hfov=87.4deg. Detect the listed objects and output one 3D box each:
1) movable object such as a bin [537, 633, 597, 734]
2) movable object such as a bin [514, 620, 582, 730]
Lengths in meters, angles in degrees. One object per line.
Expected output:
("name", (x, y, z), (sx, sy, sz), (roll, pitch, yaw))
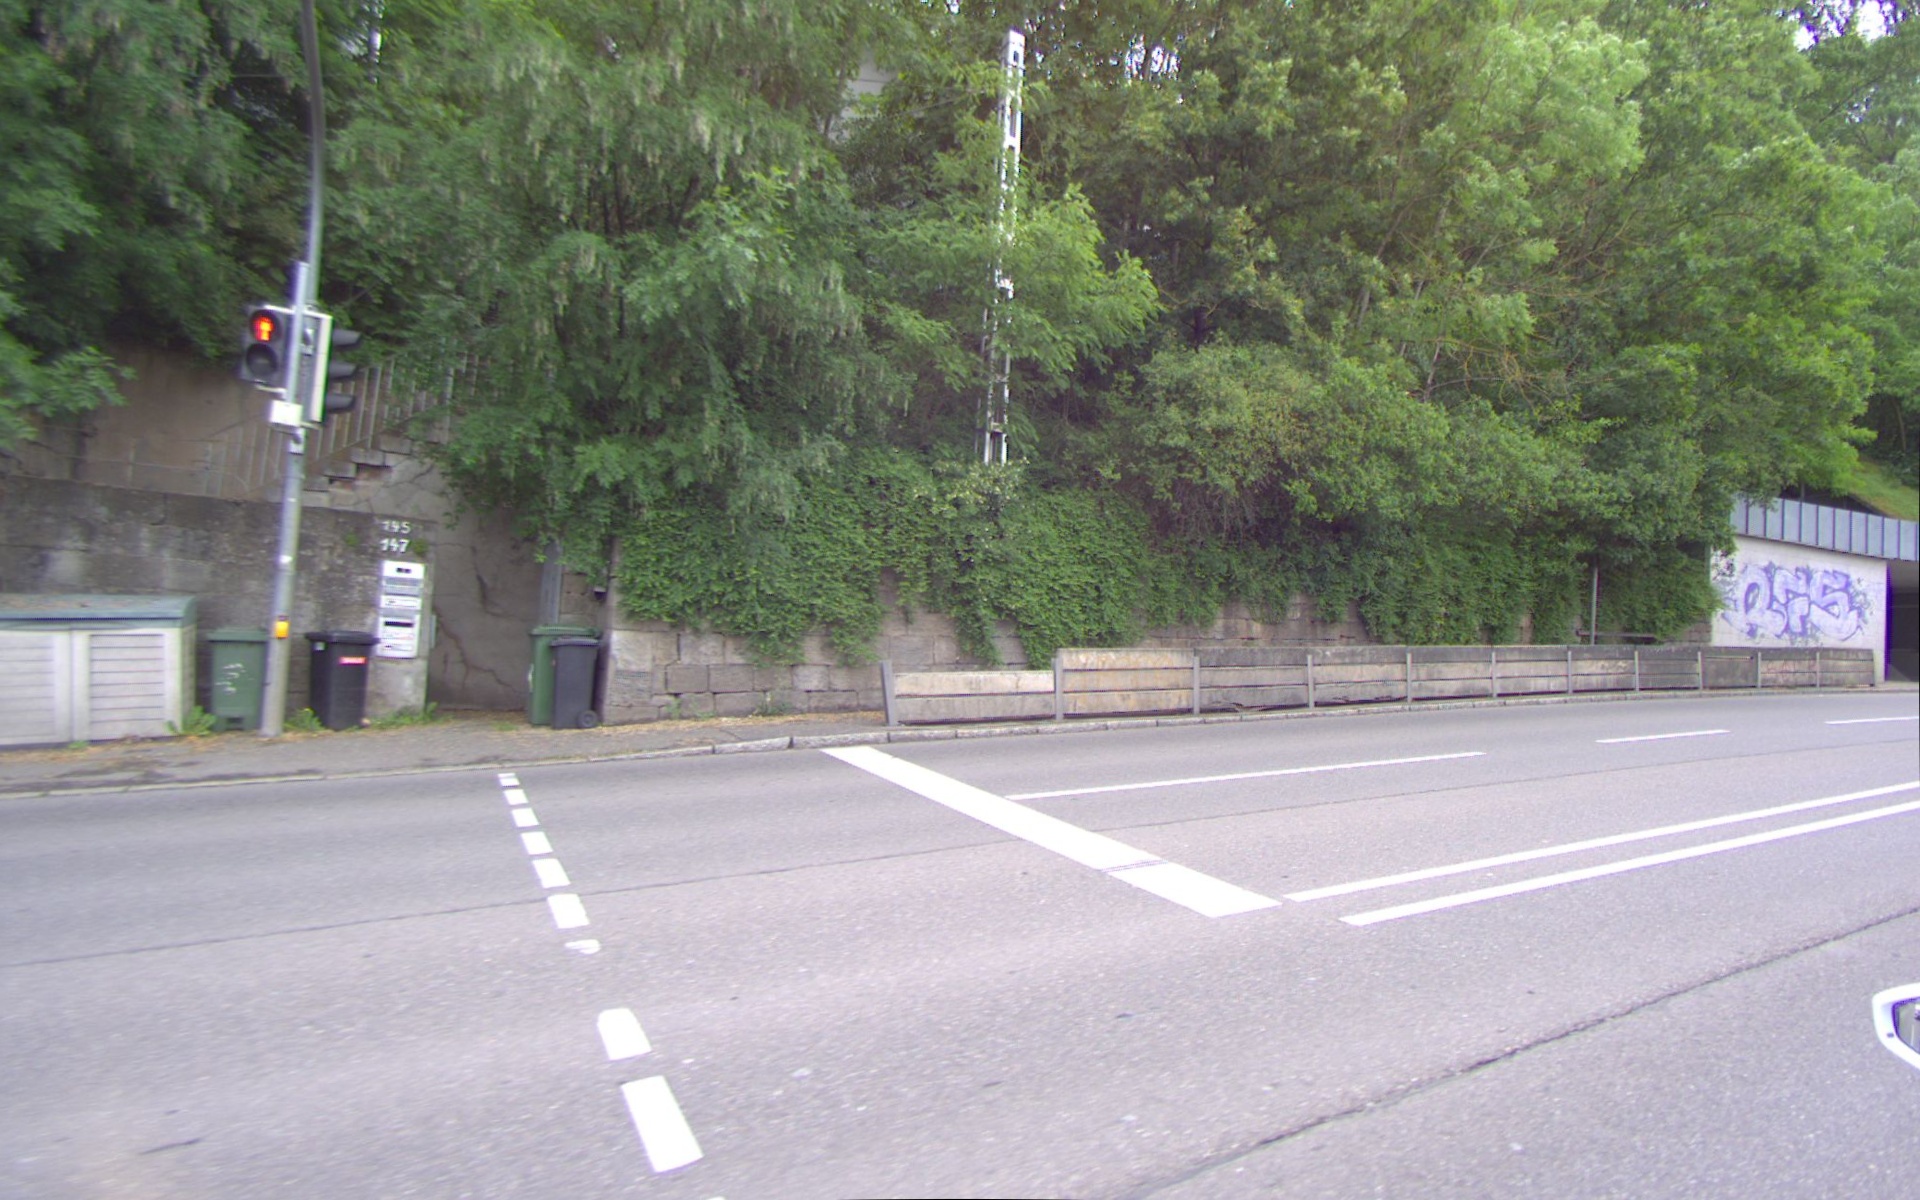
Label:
("movable object such as a bin", (-3.967, 0.831, 10.127), (0.473, 0.963, 0.425), (2, 1, -31))
("movable object such as a bin", (-4.345, 0.777, 10.576), (0.550, 1.081, 0.638), (2, 1, -31))
